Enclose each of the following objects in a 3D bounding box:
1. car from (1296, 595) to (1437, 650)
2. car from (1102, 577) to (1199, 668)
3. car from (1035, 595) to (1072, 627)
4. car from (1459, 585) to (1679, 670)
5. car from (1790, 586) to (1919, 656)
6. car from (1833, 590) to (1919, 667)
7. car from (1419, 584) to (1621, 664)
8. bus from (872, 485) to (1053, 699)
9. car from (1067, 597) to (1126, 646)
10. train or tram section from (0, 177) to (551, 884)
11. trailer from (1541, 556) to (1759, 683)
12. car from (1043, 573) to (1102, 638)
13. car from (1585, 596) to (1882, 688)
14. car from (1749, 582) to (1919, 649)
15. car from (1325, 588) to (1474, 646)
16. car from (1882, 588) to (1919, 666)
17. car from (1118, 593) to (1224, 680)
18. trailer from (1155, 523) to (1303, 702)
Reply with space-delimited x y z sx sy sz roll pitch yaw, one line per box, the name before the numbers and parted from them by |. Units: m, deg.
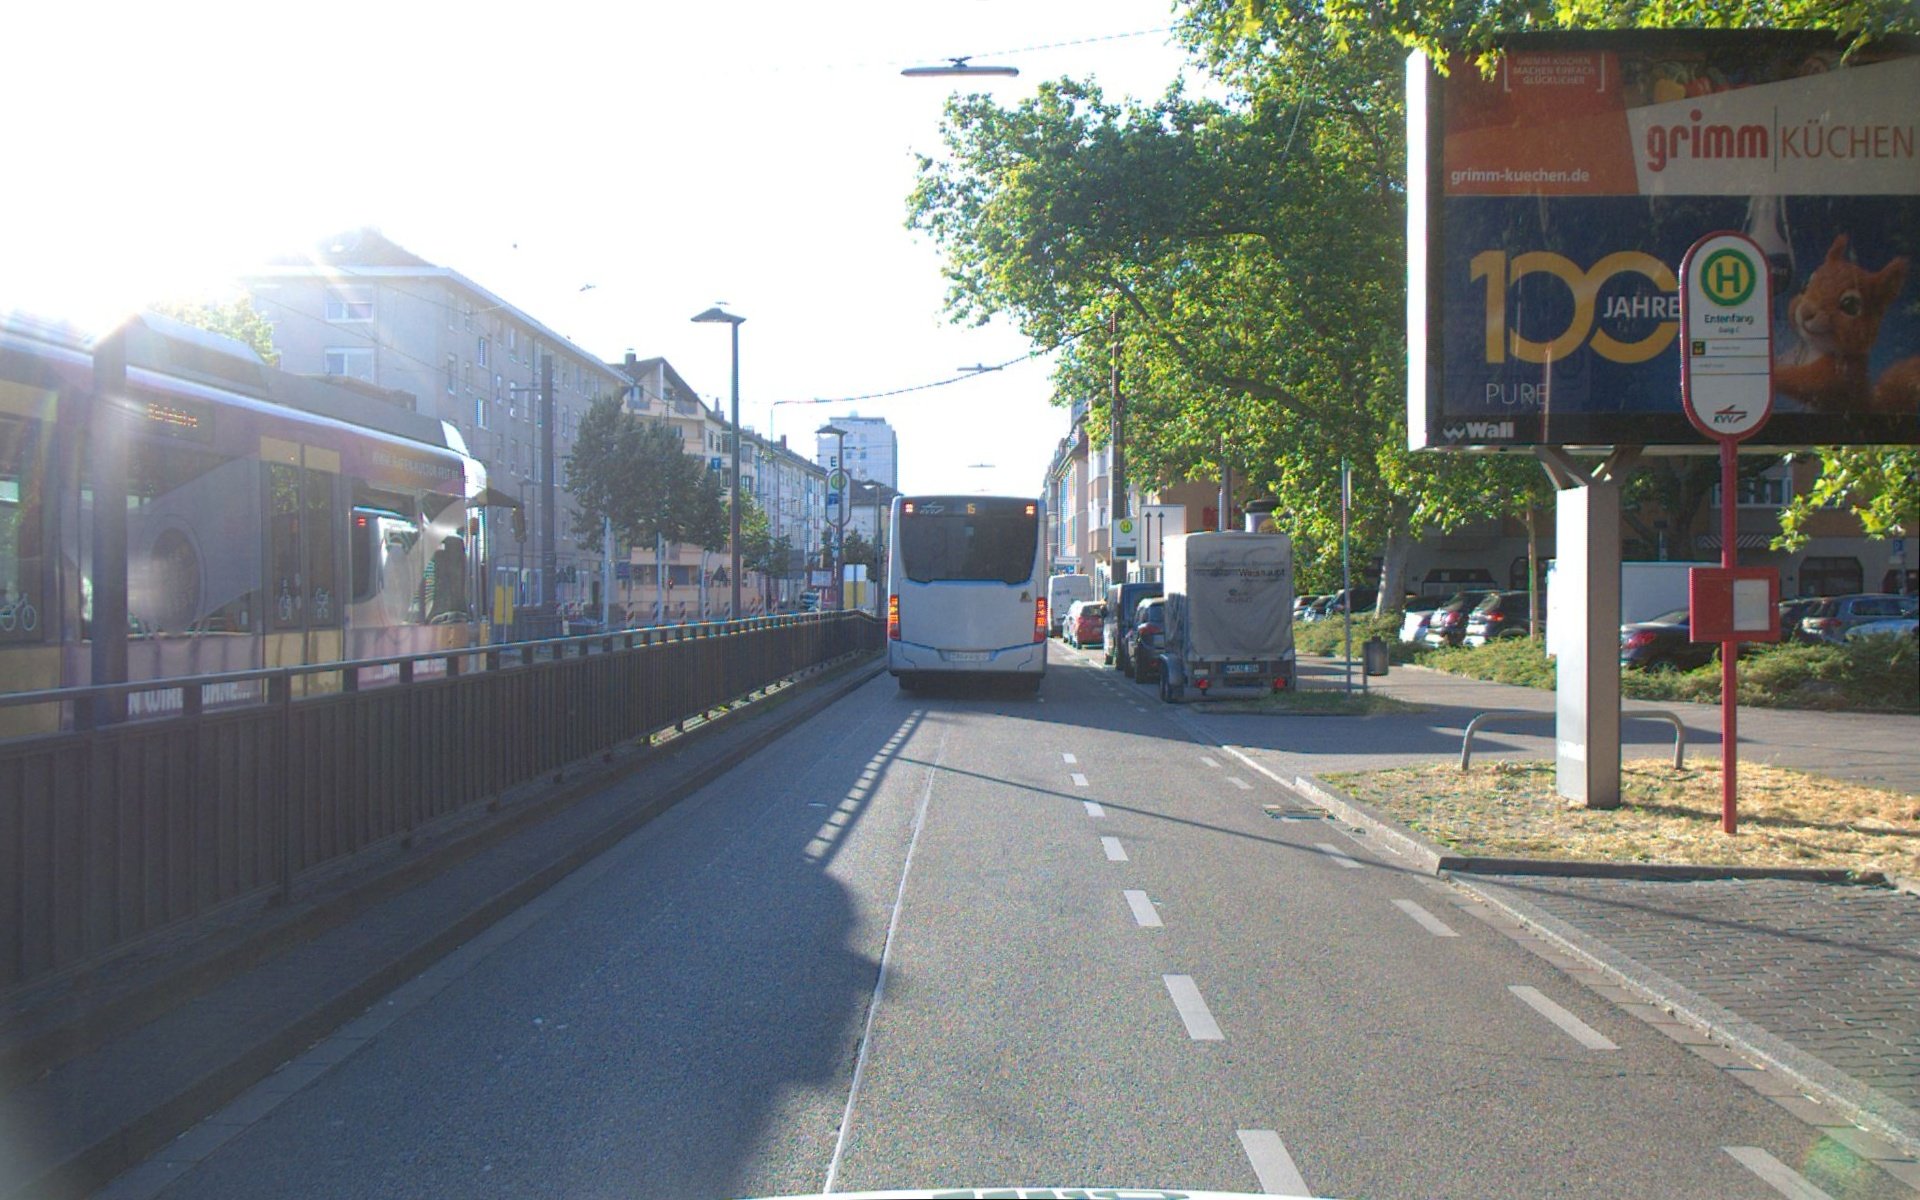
car | 12.218 0.673 49.912 3.839 1.616 1.706 -1 0 1
car | 4.427 0.509 38.985 1.809 1.991 4.544 -1 0 1
car | 4.667 0.533 82.711 1.694 1.602 3.675 0 0 1
car | 12.336 0.551 33.660 3.839 1.665 1.706 -1 0 1
car | 22.953 0.508 40.657 4.189 1.671 1.872 0 0 1
car | 22.800 0.595 38.247 4.189 1.671 1.872 -2 0 1
car | 12.206 0.517 36.179 3.839 1.666 1.706 -1 0 1
bus | 0.155 -0.121 30.389 2.677 3.194 10.704 1 0 1
car | 4.514 0.700 55.028 1.637 1.488 3.933 -2 0 1
train or tram section | -6.089 -0.351 12.282 2.586 3.581 13.335 0 0 1
trailer | 11.845 0.323 28.543 3.000 2.106 1.879 0 0 2
car | 4.762 0.223 70.972 2.235 2.673 5.310 -1 0 1
car | 12.001 0.636 25.851 3.839 1.359 1.706 -1 0 2
car | 23.083 0.393 43.051 4.189 1.671 1.872 0 0 1
car | 12.635 0.482 47.674 3.839 1.616 1.706 -1 0 1
car | 22.579 0.511 35.752 4.189 1.671 1.872 -2 0 1
car | 4.147 0.693 32.934 1.665 1.616 3.828 -1 0 1
trailer | 4.137 0.187 25.875 1.795 2.602 3.319 -1 0 1
